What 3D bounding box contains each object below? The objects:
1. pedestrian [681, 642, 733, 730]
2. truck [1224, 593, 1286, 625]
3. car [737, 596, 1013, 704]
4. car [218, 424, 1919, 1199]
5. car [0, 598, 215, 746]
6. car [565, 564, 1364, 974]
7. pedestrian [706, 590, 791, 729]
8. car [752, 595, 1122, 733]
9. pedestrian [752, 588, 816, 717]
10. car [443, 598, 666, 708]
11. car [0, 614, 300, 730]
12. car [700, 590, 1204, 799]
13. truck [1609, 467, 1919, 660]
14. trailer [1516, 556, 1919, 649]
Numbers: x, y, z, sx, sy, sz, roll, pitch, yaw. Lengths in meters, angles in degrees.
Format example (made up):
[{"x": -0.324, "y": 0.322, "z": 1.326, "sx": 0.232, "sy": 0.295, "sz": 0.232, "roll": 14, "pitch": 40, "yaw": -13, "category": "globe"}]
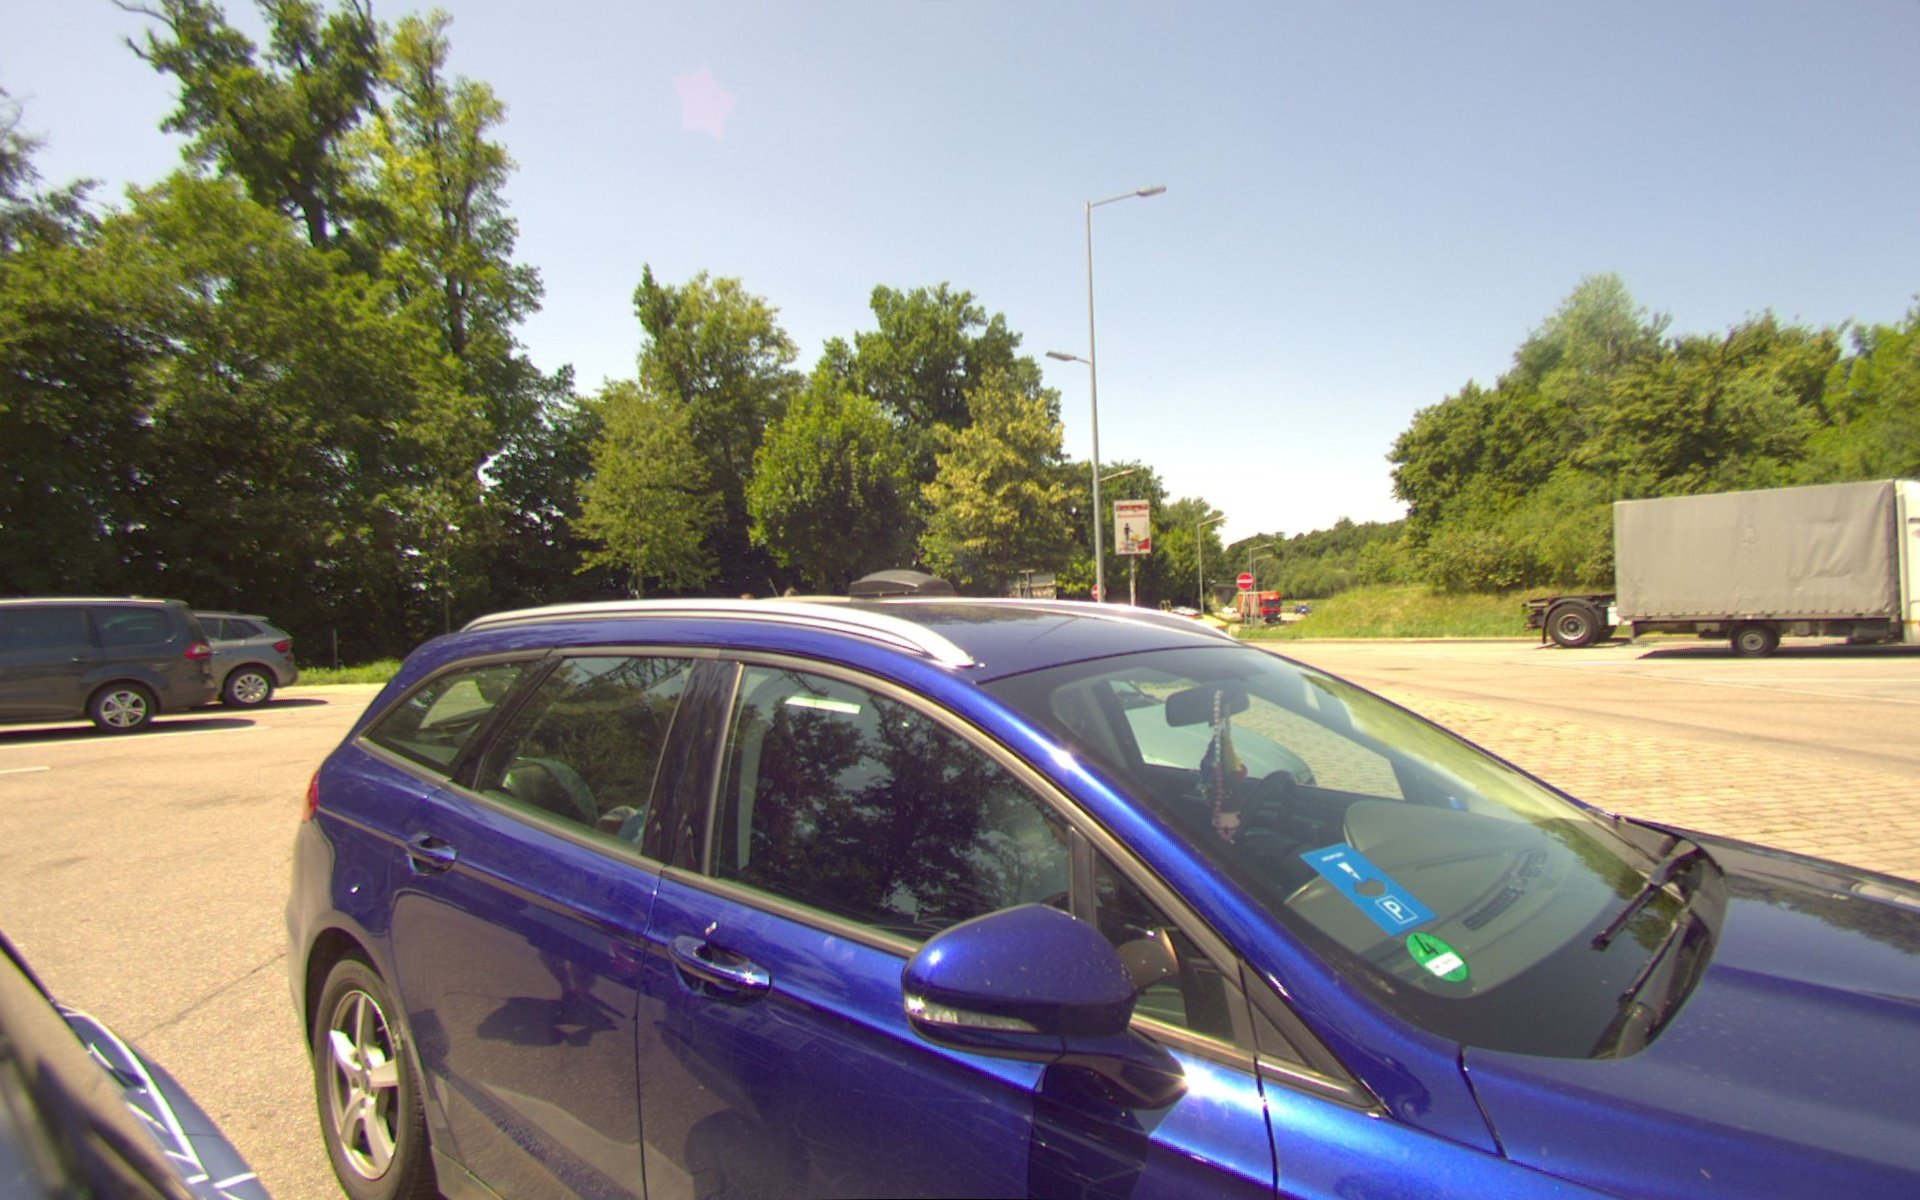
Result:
[{"x": -3.135, "y": 1.050, "z": 12.543, "sx": 0.434, "sy": 1.052, "sz": 0.433, "roll": -2, "pitch": -1, "yaw": 40, "category": "pedestrian"}, {"x": 40.959, "y": 1.192, "z": 141.315, "sx": 3.086, "sy": 4.150, "sz": 15.415, "roll": -1, "pitch": 0, "yaw": -4, "category": "truck"}, {"x": -1.495, "y": 0.826, "z": 16.872, "sx": 4.485, "sy": 1.562, "sz": 1.756, "roll": -3, "pitch": -1, "yaw": 36, "category": "car"}, {"x": 0.235, "y": 0.661, "z": 2.152, "sx": 4.490, "sy": 1.502, "sz": 1.851, "roll": -3, "pitch": 0, "yaw": 40, "category": "car"}, {"x": -11.960, "y": 0.858, "z": 12.316, "sx": 4.553, "sy": 1.725, "sz": 1.741, "roll": 0, "pitch": -1, "yaw": -41, "category": "car"}, {"x": -0.276, "y": 0.694, "z": 5.850, "sx": 4.490, "sy": 1.511, "sz": 1.754, "roll": -3, "pitch": -1, "yaw": 40, "category": "car"}, {"x": -2.670, "y": 0.729, "z": 12.781, "sx": 0.833, "sy": 1.676, "sz": 0.667, "roll": -2, "pitch": -1, "yaw": 40, "category": "pedestrian"}, {"x": -0.403, "y": 0.775, "z": 12.772, "sx": 4.485, "sy": 1.437, "sz": 1.756, "roll": -3, "pitch": -1, "yaw": 36, "category": "car"}, {"x": -2.456, "y": 0.719, "z": 14.187, "sx": 0.668, "sy": 1.746, "sz": 0.832, "roll": -1, "pitch": -1, "yaw": 7, "category": "pedestrian"}, {"x": -7.126, "y": 0.857, "z": 18.379, "sx": 1.974, "sy": 1.725, "sz": 4.612, "roll": -1, "pitch": 0, "yaw": 4, "category": "car"}, {"x": -12.614, "y": 1.003, "z": 15.480, "sx": 1.687, "sy": 1.515, "sz": 3.943, "roll": -1, "pitch": 0, "yaw": 43, "category": "car"}, {"x": -0.263, "y": 0.749, "z": 9.225, "sx": 4.490, "sy": 1.437, "sz": 1.754, "roll": -3, "pitch": -1, "yaw": 40, "category": "car"}, {"x": 16.810, "y": -0.654, "z": 18.977, "sx": 7.295, "sy": 3.259, "sz": 2.709, "roll": -4, "pitch": -1, "yaw": 43, "category": "truck"}, {"x": 17.237, "y": 0.127, "z": 23.405, "sx": 7.295, "sy": 1.701, "sz": 2.235, "roll": -4, "pitch": -1, "yaw": 43, "category": "trailer"}]
